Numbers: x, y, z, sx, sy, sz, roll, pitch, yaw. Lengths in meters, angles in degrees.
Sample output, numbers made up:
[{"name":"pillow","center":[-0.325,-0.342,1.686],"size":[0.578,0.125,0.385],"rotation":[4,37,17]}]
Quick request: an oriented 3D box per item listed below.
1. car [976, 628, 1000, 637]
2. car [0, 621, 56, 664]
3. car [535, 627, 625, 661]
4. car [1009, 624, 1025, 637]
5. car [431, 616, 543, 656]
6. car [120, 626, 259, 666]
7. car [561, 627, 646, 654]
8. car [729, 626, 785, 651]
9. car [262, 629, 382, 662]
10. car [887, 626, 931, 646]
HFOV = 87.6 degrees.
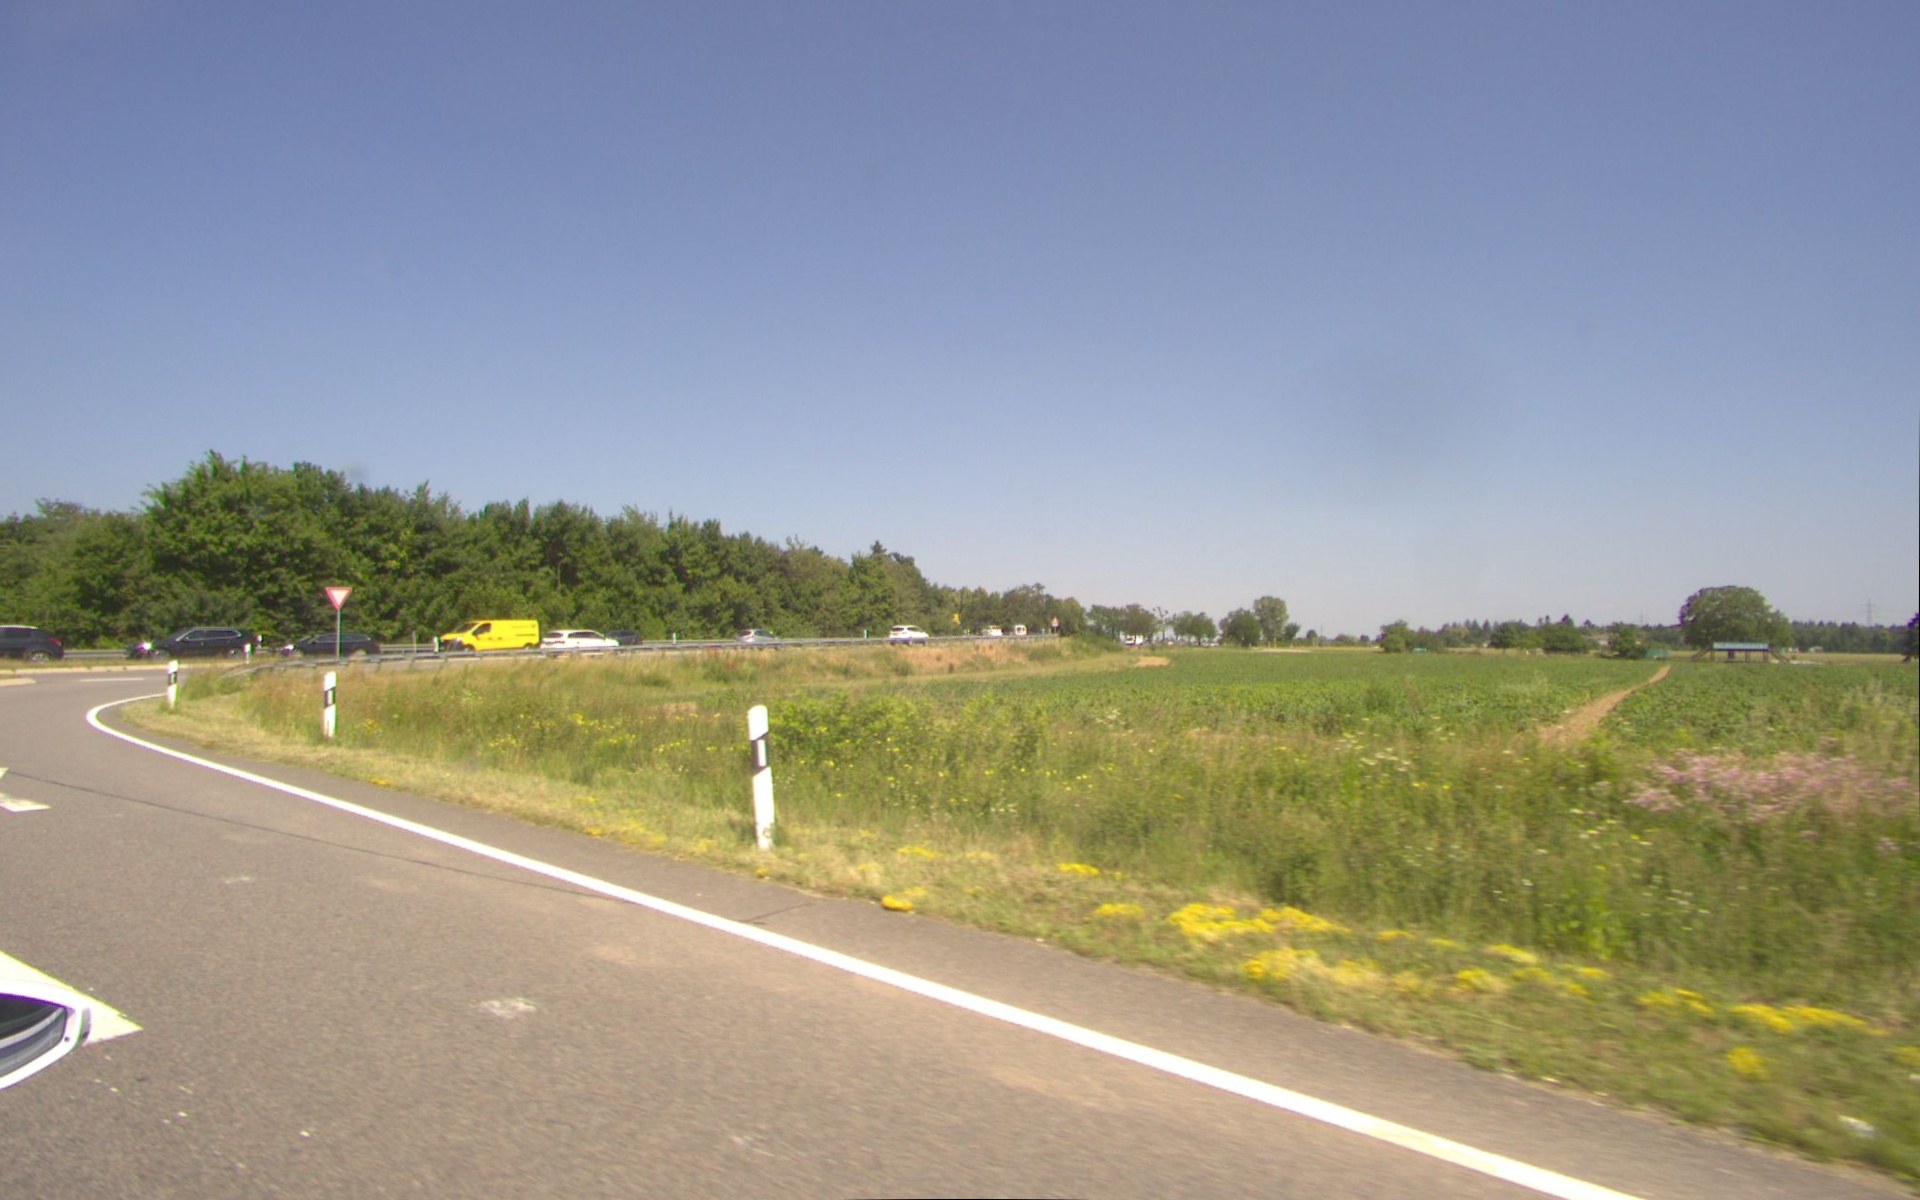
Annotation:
[{"name":"car","center":[3.904,4.565,138.982],"size":[1.691,1.203,3.986],"rotation":[1,-3,-26]},{"name":"car","center":[-38.070,1.661,39.044],"size":[1.818,1.661,3.971],"rotation":[-2,-2,38]},{"name":"car","center":[-19.815,2.276,52.457],"size":[1.711,1.587,4.468],"rotation":[-1,0,25]},{"name":"car","center":[7.304,3.852,127.857],"size":[1.684,1.589,4.001],"rotation":[0,-2,-2]},{"name":"car","center":[-25.540,1.942,54.264],"size":[1.973,2.039,5.311],"rotation":[-1,-2,33]},{"name":"car","center":[-33.093,1.930,43.126],"size":[1.744,1.618,4.474],"rotation":[-1,-2,35]},{"name":"car","center":[-21.542,2.423,60.675],"size":[1.828,1.533,4.671],"rotation":[-2,-2,34]},{"name":"car","center":[-13.487,2.541,66.563],"size":[1.713,1.587,3.679],"rotation":[-1,-2,28]},{"name":"car","center":[-31.065,2.199,48.875],"size":[1.831,1.533,4.663],"rotation":[-2,-2,39]},{"name":"car","center":[-4.235,3.003,83.456],"size":[1.711,1.587,4.469],"rotation":[-1,-2,26]}]
